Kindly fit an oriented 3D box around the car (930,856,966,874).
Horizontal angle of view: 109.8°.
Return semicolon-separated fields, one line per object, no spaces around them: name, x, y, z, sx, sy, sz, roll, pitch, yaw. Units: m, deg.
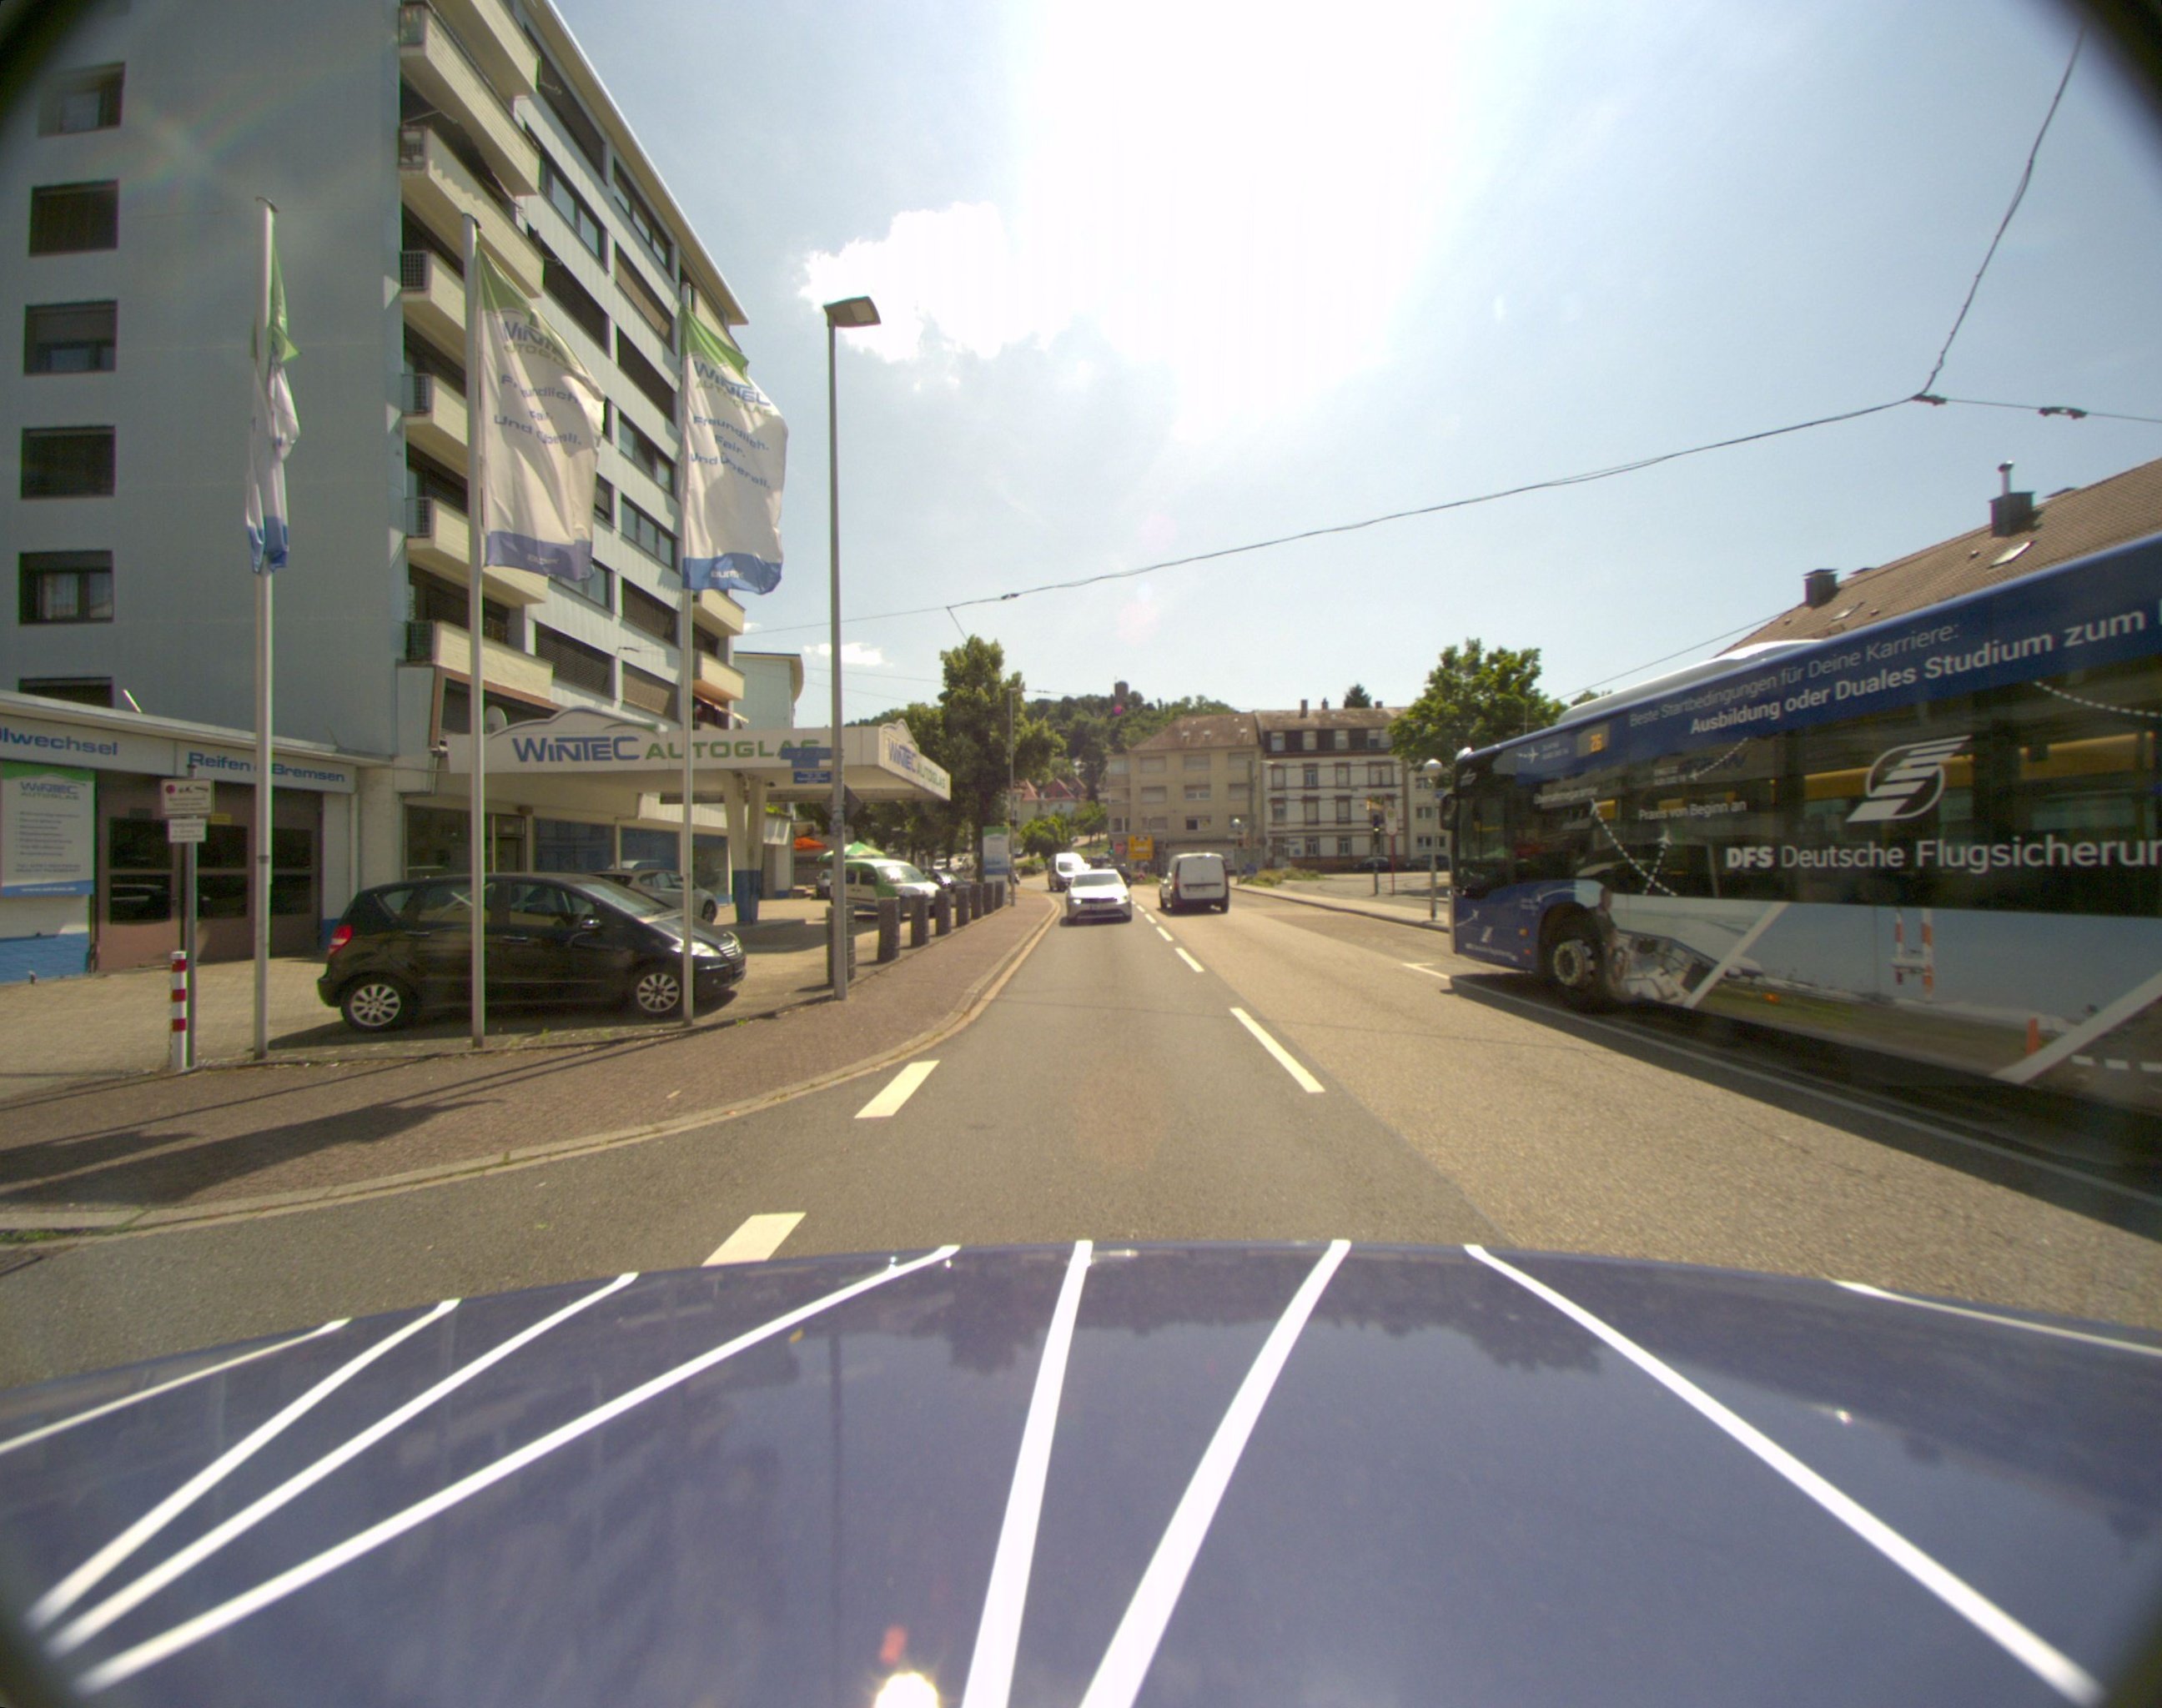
car;-16.335;1.313;93.491;2.398;2.002;5.385;-3;0;13

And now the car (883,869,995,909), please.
car;-5.429;1.310;29.044;3.963;1.420;1.703;0;0;25

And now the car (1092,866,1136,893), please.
car;2.027;1.581;48.295;1.842;1.482;4.808;-2;0;-9

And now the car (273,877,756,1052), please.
car;-5.946;1.093;8.525;3.889;1.534;1.840;-1;0;-11

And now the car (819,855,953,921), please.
car;-6.101;1.044;23.548;4.278;1.779;1.826;-3;1;41

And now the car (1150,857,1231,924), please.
car;3.394;1.069;24.461;1.708;1.840;4.711;-3;0;-2

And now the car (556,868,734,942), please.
car;-11.134;1.215;19.881;1.750;1.617;4.706;-1;-1;2

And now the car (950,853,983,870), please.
car;-14.983;0.963;100.022;2.398;2.002;5.385;-3;0;13

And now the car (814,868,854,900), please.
car;-12.087;1.421;37.250;1.714;1.391;4.277;-2;0;-18

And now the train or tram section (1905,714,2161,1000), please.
train or tram section;14.510;-0.060;5.717;2.970;3.474;12.659;-3;-1;1

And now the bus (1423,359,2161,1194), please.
bus;5.883;-0.365;3.829;2.915;3.407;12.039;-3;0;1

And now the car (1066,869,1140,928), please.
car;0.520;1.178;21.558;1.818;1.371;4.391;-2;0;-1

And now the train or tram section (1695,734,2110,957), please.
train or tram section;14.706;-0.116;14.160;2.970;3.474;4.418;-1;0;1

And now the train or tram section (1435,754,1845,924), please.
train or tram section;14.942;-0.260;22.653;2.970;3.474;12.715;-3;-1;1

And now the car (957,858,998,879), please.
car;-11.520;1.544;85.317;2.398;2.002;6.378;-3;0;13

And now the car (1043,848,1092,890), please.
car;-0.909;0.845;45.499;2.000;2.258;5.440;-3;0;-10

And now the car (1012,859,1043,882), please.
car;-4.161;1.244;59.866;1.998;1.608;4.000;-3;0;2
